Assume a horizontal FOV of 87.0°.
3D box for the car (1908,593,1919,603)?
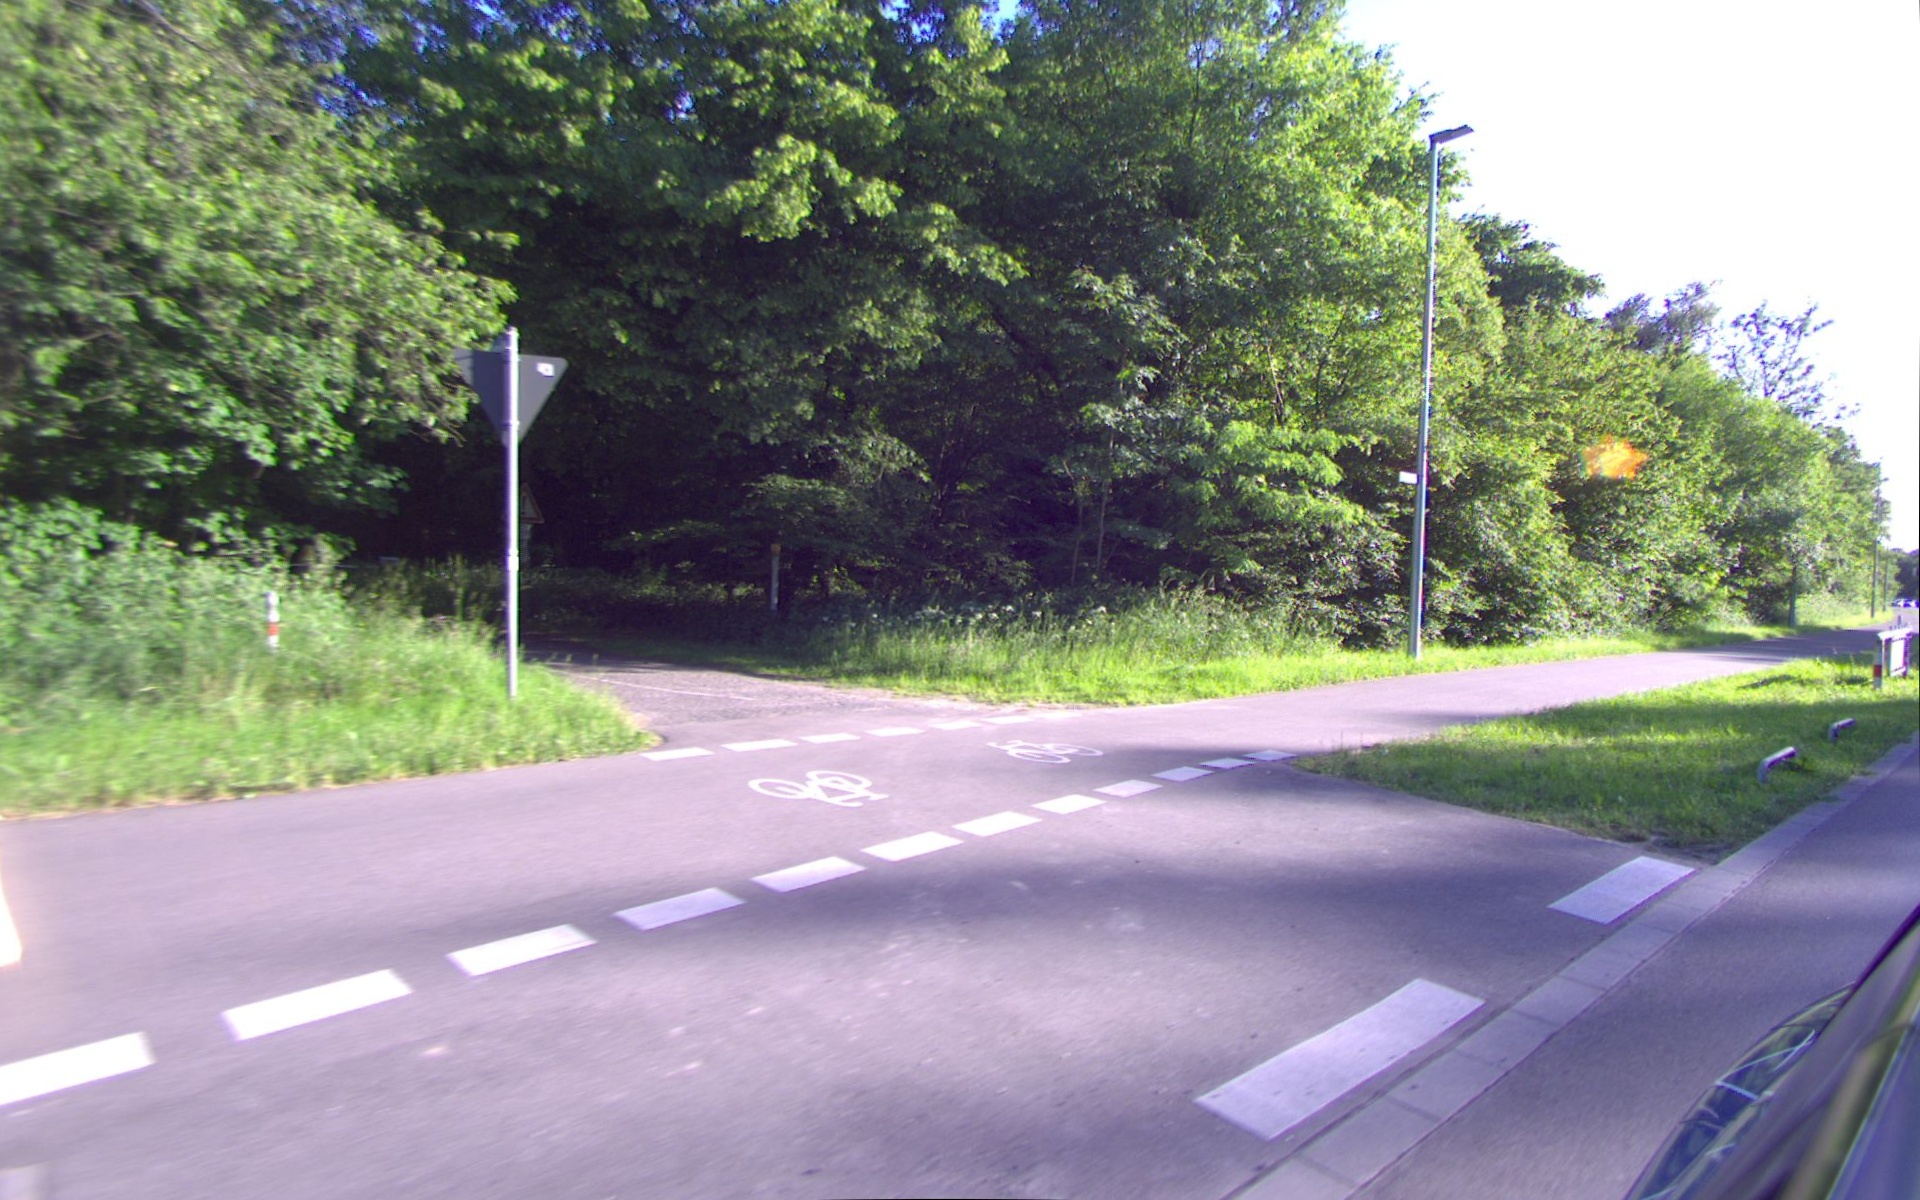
[{"bbox_3d":[157.745,-0.323,166.656,1.989,1.537,3.947,2,2,37],"label":"car"}]
